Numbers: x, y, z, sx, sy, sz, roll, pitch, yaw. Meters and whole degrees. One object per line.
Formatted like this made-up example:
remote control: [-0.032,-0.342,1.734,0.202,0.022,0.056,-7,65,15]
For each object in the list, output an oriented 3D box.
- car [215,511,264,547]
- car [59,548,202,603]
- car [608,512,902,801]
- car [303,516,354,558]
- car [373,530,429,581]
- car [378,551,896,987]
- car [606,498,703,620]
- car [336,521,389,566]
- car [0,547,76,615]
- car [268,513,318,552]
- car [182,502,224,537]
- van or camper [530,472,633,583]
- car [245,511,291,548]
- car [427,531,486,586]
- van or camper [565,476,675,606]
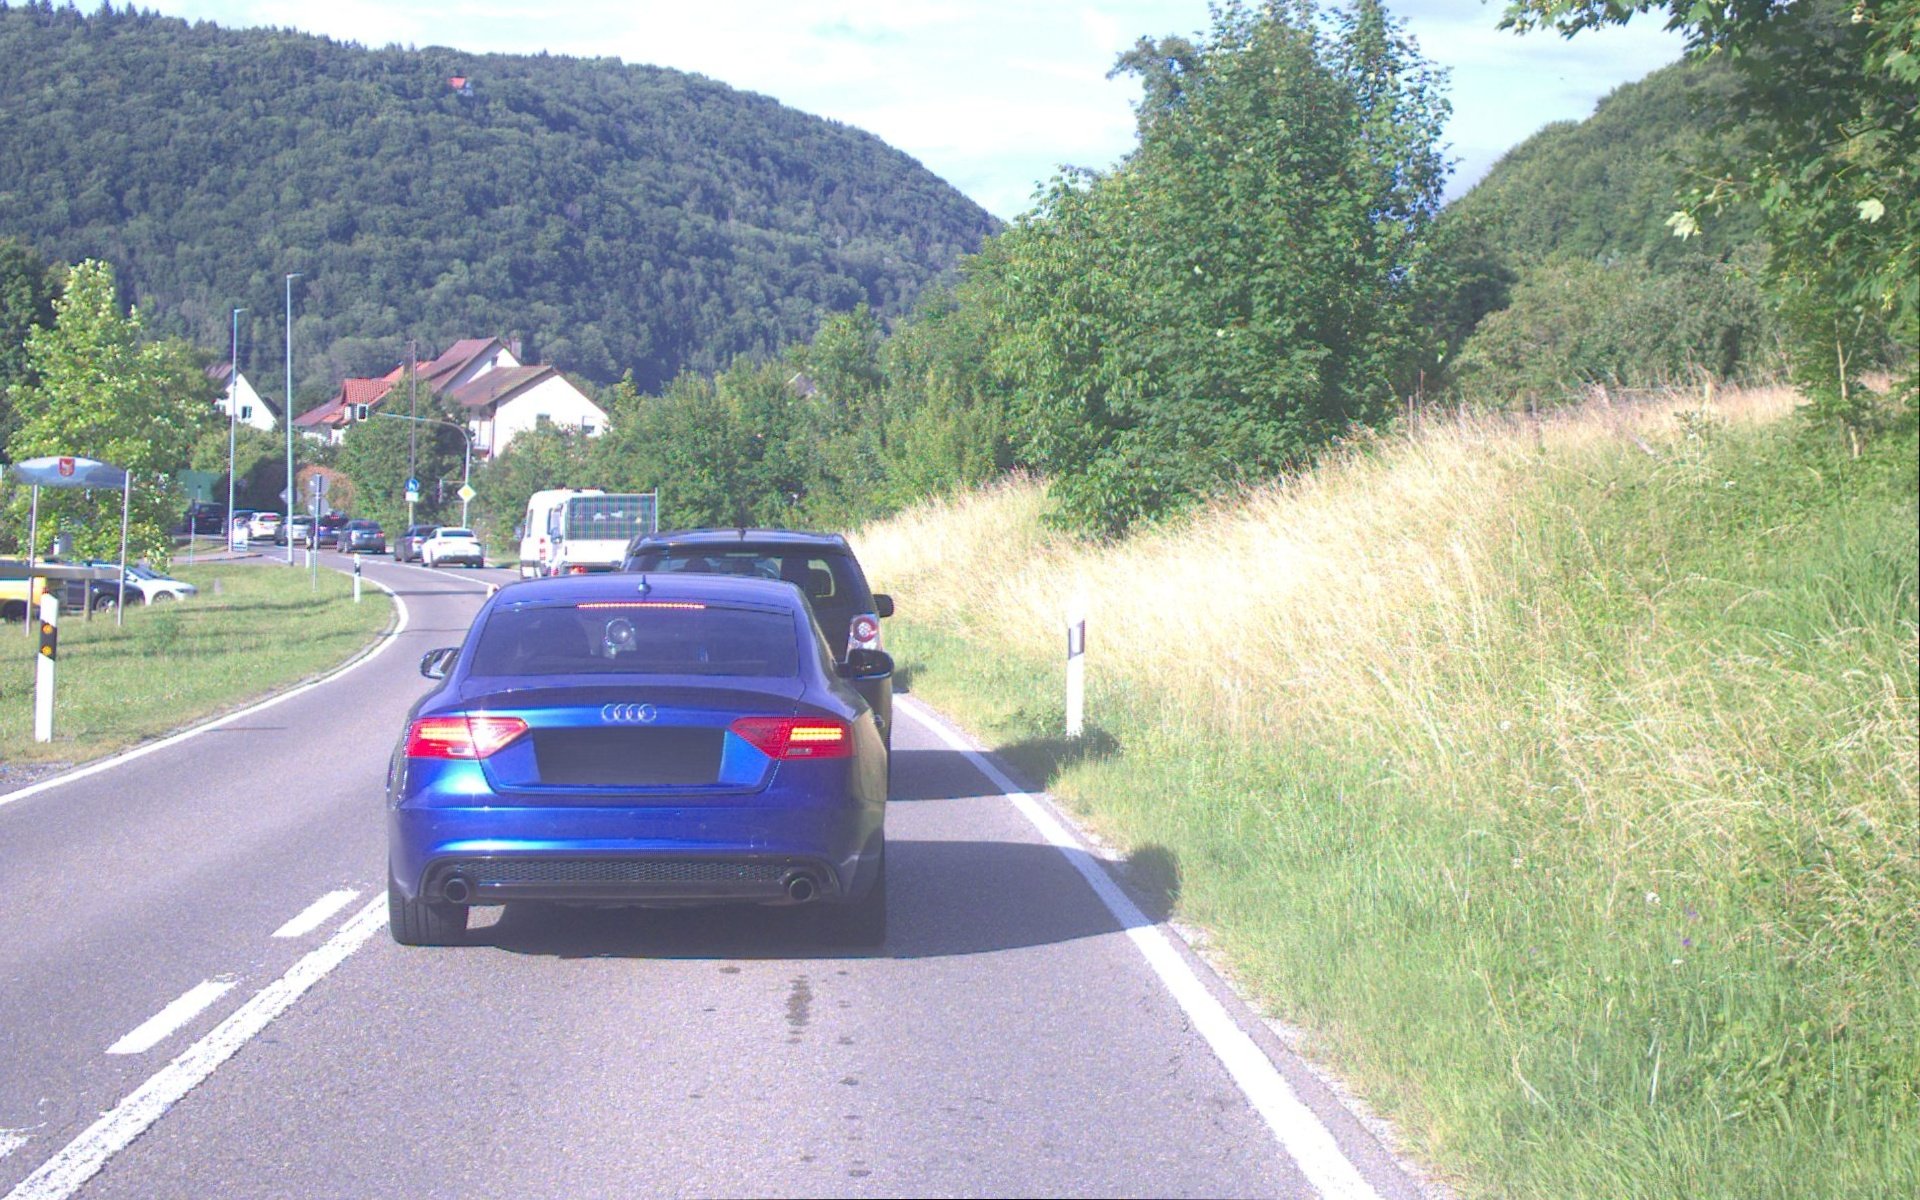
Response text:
car: [-39.140,-3.825,186.669,1.954,1.918,4.001,-1,1,-21]
car: [-25.950,-0.771,107.599,4.036,1.655,1.655,-1,1,4]
car: [-1.298,0.297,21.521,1.645,1.619,3.517,2,1,-4]
car: [-29.535,-2.919,160.724,1.676,1.918,4.001,-1,1,-20]
car: [-21.567,-1.712,132.487,1.659,1.918,4.001,-1,1,-16]
car: [-1.157,0.547,13.448,1.742,1.445,3.517,-1,1,-2]
car: [-5.275,-0.721,59.024,1.567,2.007,4.001,-1,1,-6]
car: [-26.212,-2.469,150.789,1.659,1.918,4.001,-1,1,-19]
car: [-26.488,-0.509,93.127,4.553,1.808,1.841,-1,1,4]
car: [-32.981,-3.325,169.920,1.676,1.918,4.001,-1,1,-21]
car: [-42.904,-4.533,194.791,1.676,1.918,4.001,-1,1,-21]
van or camper: [-9.639,-1.826,87.219,2.280,2.704,5.769,-1,1,-9]
car: [-36.048,-3.655,178.973,1.676,1.918,4.001,-1,1,-21]
car: [-17.853,-1.473,121.900,1.659,1.918,4.001,-1,1,-14]
van or camper: [-6.927,-1.187,69.535,2.051,2.497,5.813,-1,1,-7]
